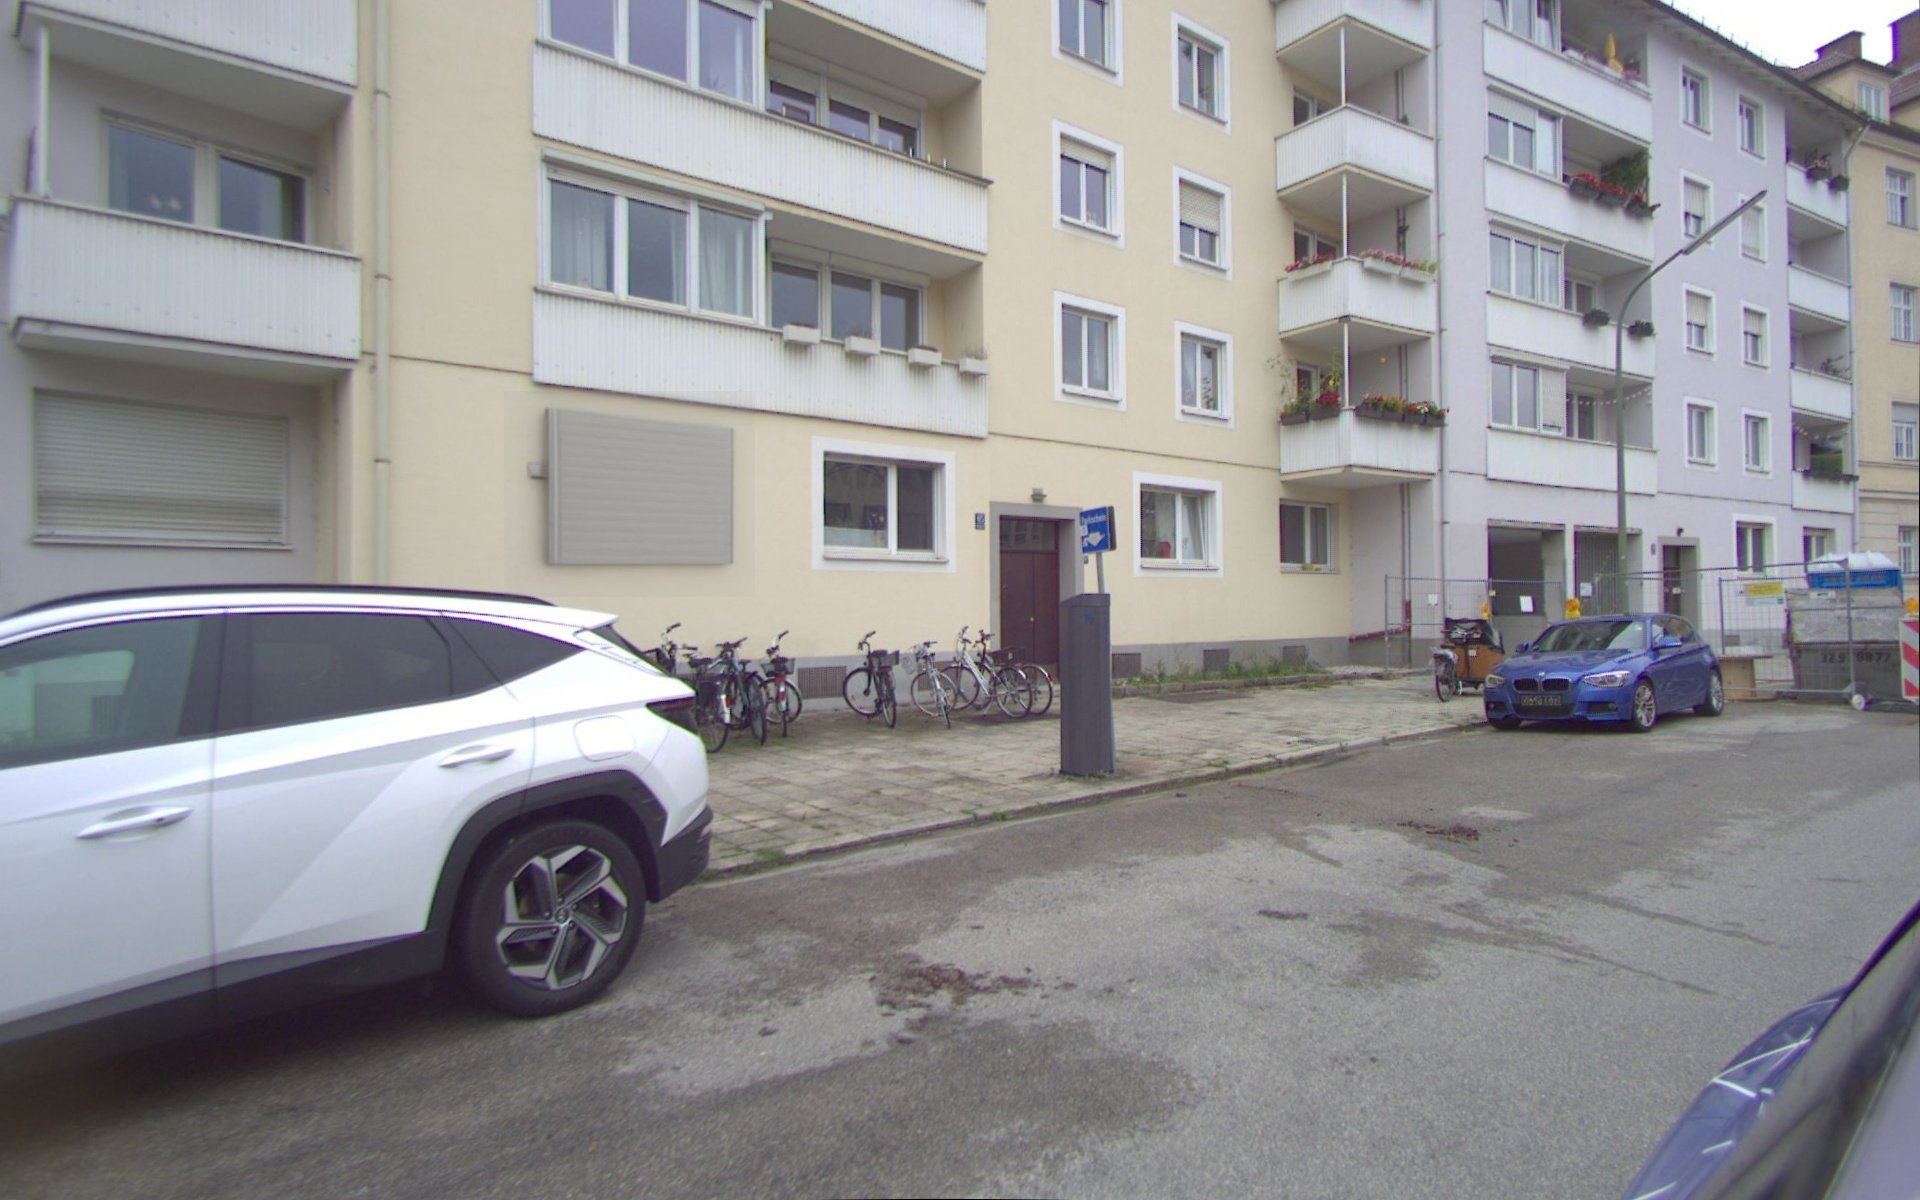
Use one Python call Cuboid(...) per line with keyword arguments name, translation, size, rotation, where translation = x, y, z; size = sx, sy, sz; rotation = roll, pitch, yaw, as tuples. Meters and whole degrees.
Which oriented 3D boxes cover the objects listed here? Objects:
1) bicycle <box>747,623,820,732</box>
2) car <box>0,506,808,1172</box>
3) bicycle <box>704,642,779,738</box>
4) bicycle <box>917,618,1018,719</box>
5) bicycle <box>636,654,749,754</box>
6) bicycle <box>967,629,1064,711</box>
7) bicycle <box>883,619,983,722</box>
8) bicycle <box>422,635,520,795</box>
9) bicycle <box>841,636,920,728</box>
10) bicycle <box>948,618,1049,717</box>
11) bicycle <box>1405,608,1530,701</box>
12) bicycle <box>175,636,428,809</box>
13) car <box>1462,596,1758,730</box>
Cuboid(name="bicycle", translation=(-2.242, 0.932, 12.740), size=(0.424, 1.237, 1.708), rotation=(1, 0, -27))
Cuboid(name="car", translation=(-2.959, 0.653, 3.562), size=(2.025, 1.700, 4.541), rotation=(-4, -3, 42))
Cuboid(name="bicycle", translation=(-2.542, 0.992, 11.660), size=(0.424, 0.954, 1.708), rotation=(0, 0, -27))
Cuboid(name="bicycle", translation=(0.077, 0.879, 13.533), size=(0.424, 1.237, 1.705), rotation=(1, 0, -36))
Cuboid(name="bicycle", translation=(-2.855, 1.071, 10.728), size=(1.468, 0.868, 0.438), rotation=(3, 2, 43))
Cuboid(name="bicycle", translation=(0.753, 0.951, 14.235), size=(0.361, 1.049, 1.705), rotation=(1, 0, -36))
Cuboid(name="bicycle", translation=(-0.378, 0.888, 13.284), size=(0.424, 1.237, 1.705), rotation=(1, 0, -36))
Cuboid(name="bicycle", translation=(-4.417, 0.959, 9.077), size=(0.566, 1.172, 1.834), rotation=(1, 1, -33))
Cuboid(name="bicycle", translation=(-1.027, 1.004, 12.839), size=(0.471, 1.002, 1.508), rotation=(1, 1, -26))
Cuboid(name="bicycle", translation=(0.498, 0.882, 13.795), size=(0.424, 1.237, 1.705), rotation=(1, 0, -36))
Cuboid(name="bicycle", translation=(8.228, 0.822, 16.338), size=(2.726, 1.339, 0.811), rotation=(-1, 1, -40))
Cuboid(name="bicycle", translation=(-5.390, 0.940, 8.436), size=(0.570, 1.172, 1.822), rotation=(1, 1, 17))
Cuboid(name="car", translation=(8.603, 0.742, 13.246), size=(4.544, 1.461, 1.834), rotation=(0, -3, -38))
